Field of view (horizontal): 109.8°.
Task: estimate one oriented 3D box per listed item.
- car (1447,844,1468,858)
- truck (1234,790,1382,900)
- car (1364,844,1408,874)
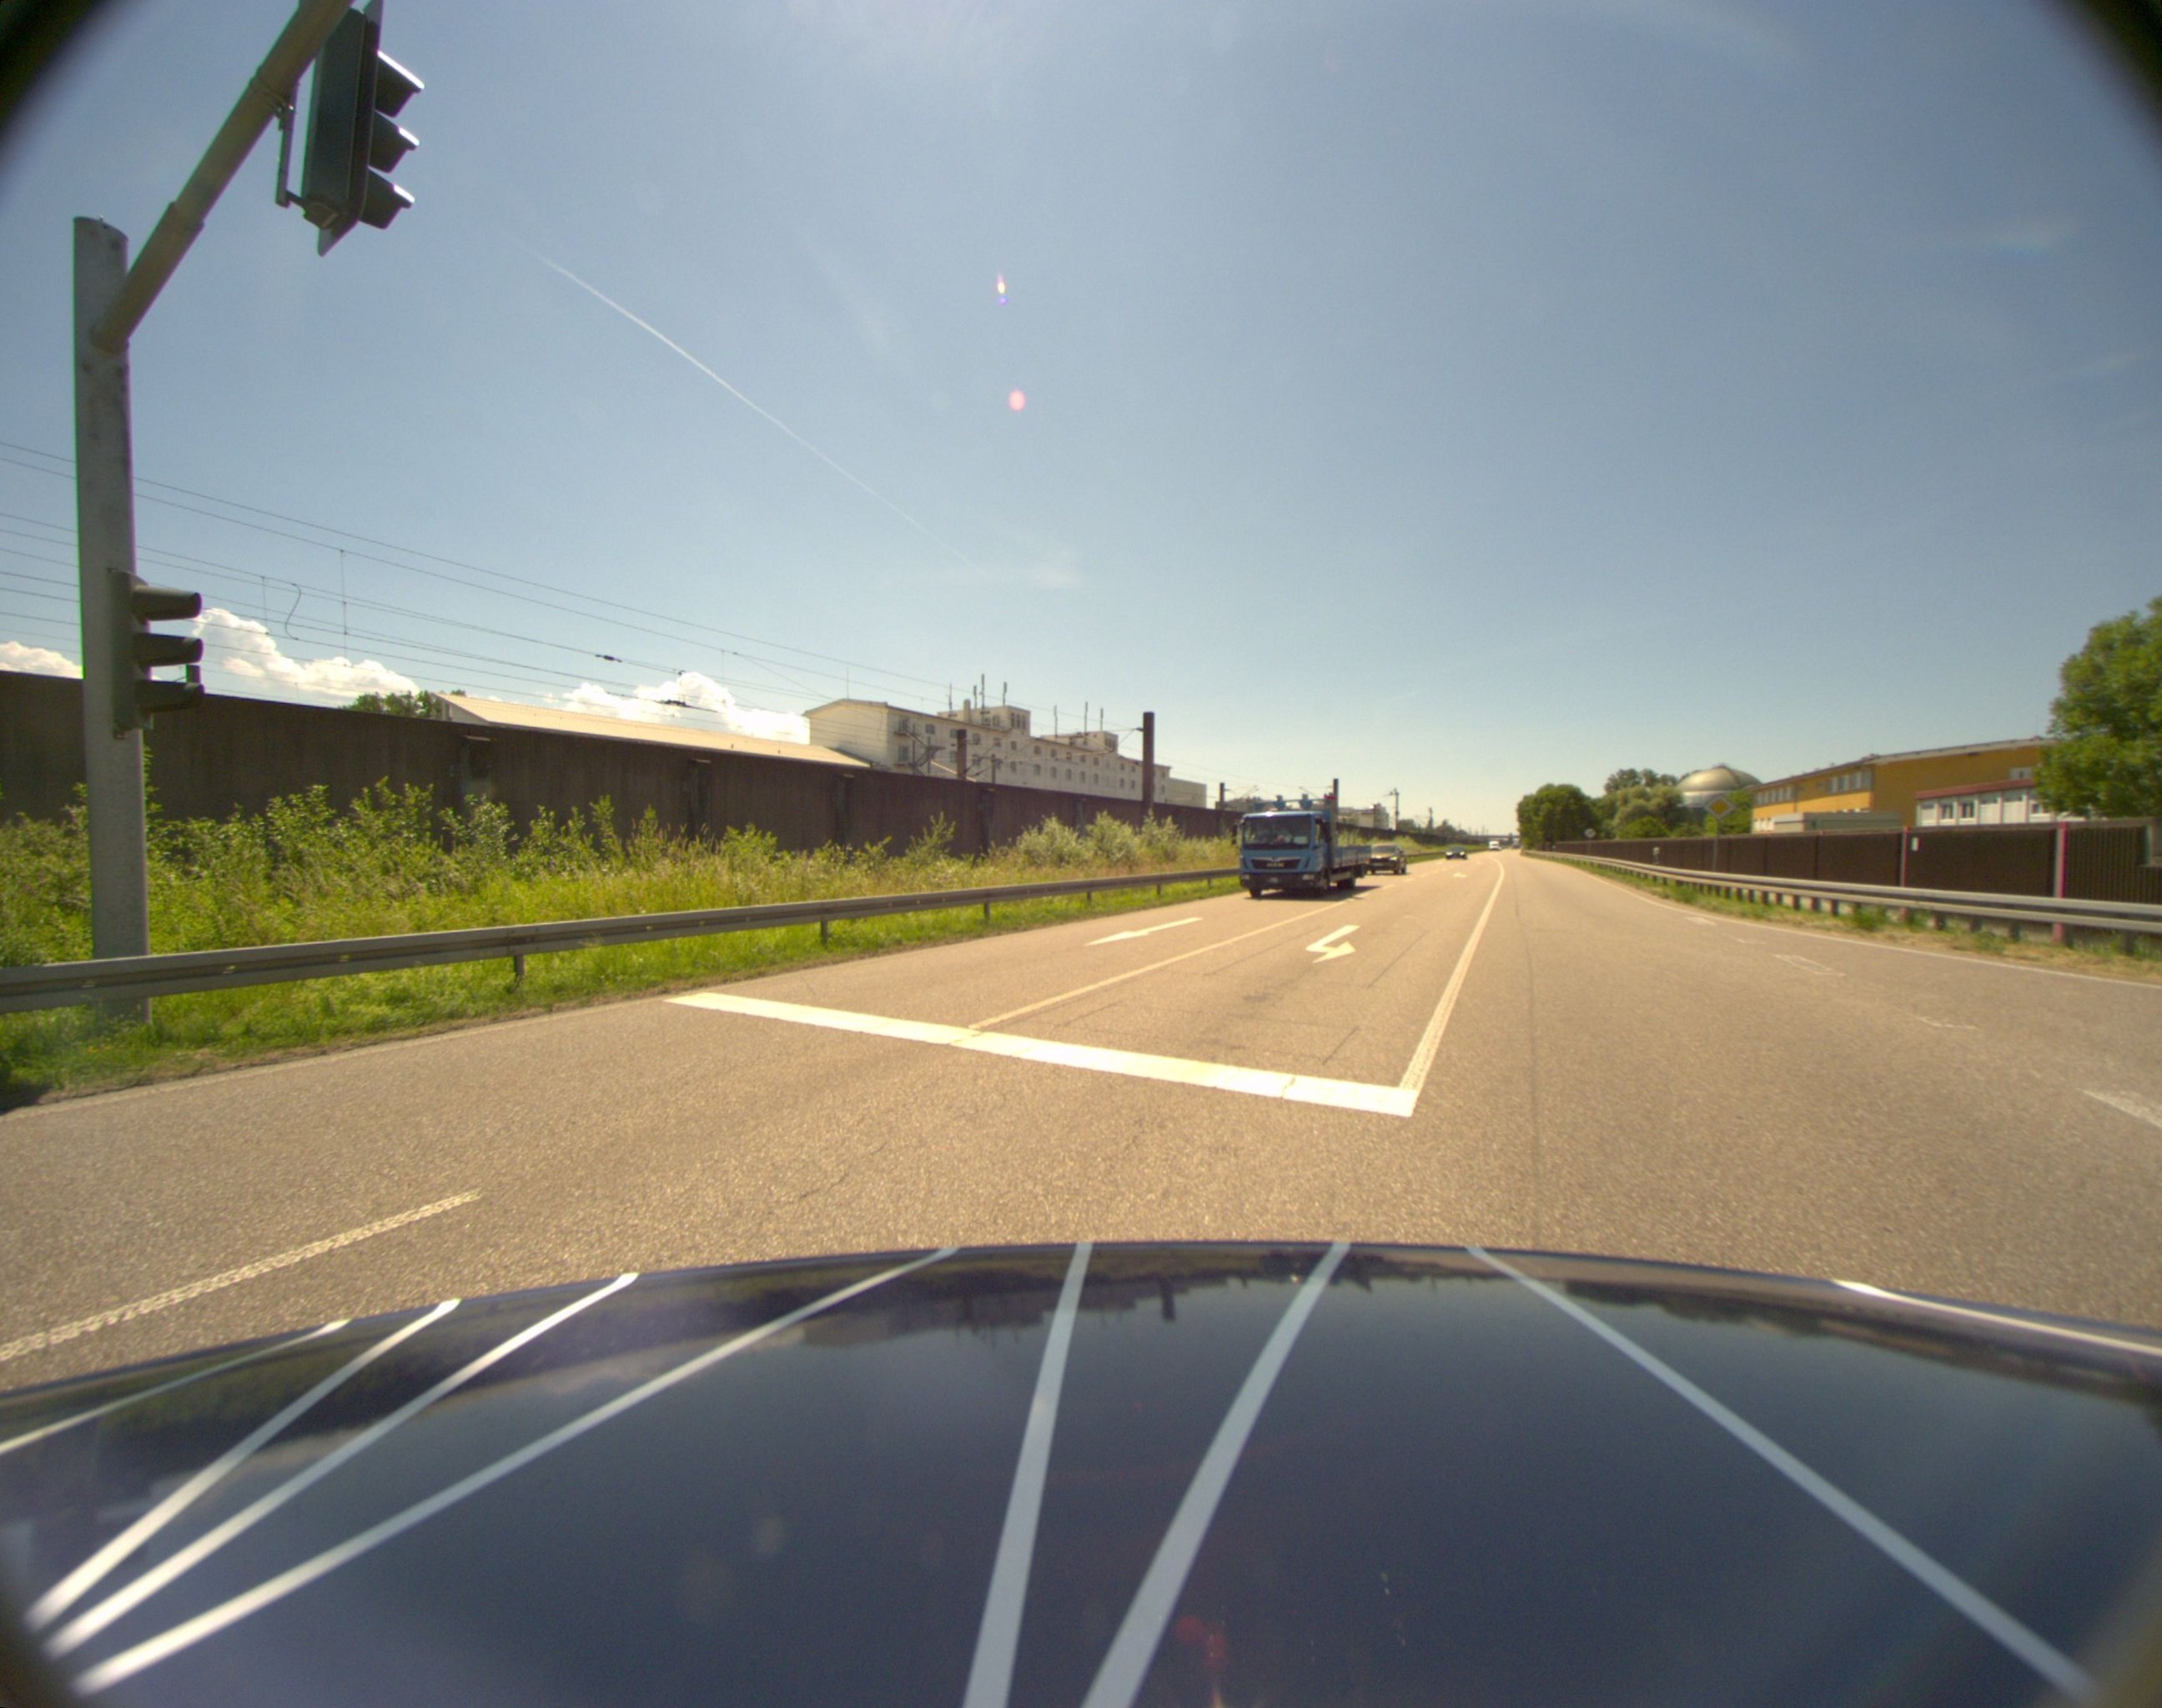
[{"bbox_3d":[40.217,-0.354,81.062,1.726,1.465,3.896,0,1,30],"label":"car"},{"bbox_3d":[8.211,-0.337,26.183,2.611,3.024,10.675,0,1,29],"label":"truck"},{"bbox_3d":[16.226,0.229,40.278,1.726,1.465,4.183,0,1,28],"label":"car"}]
